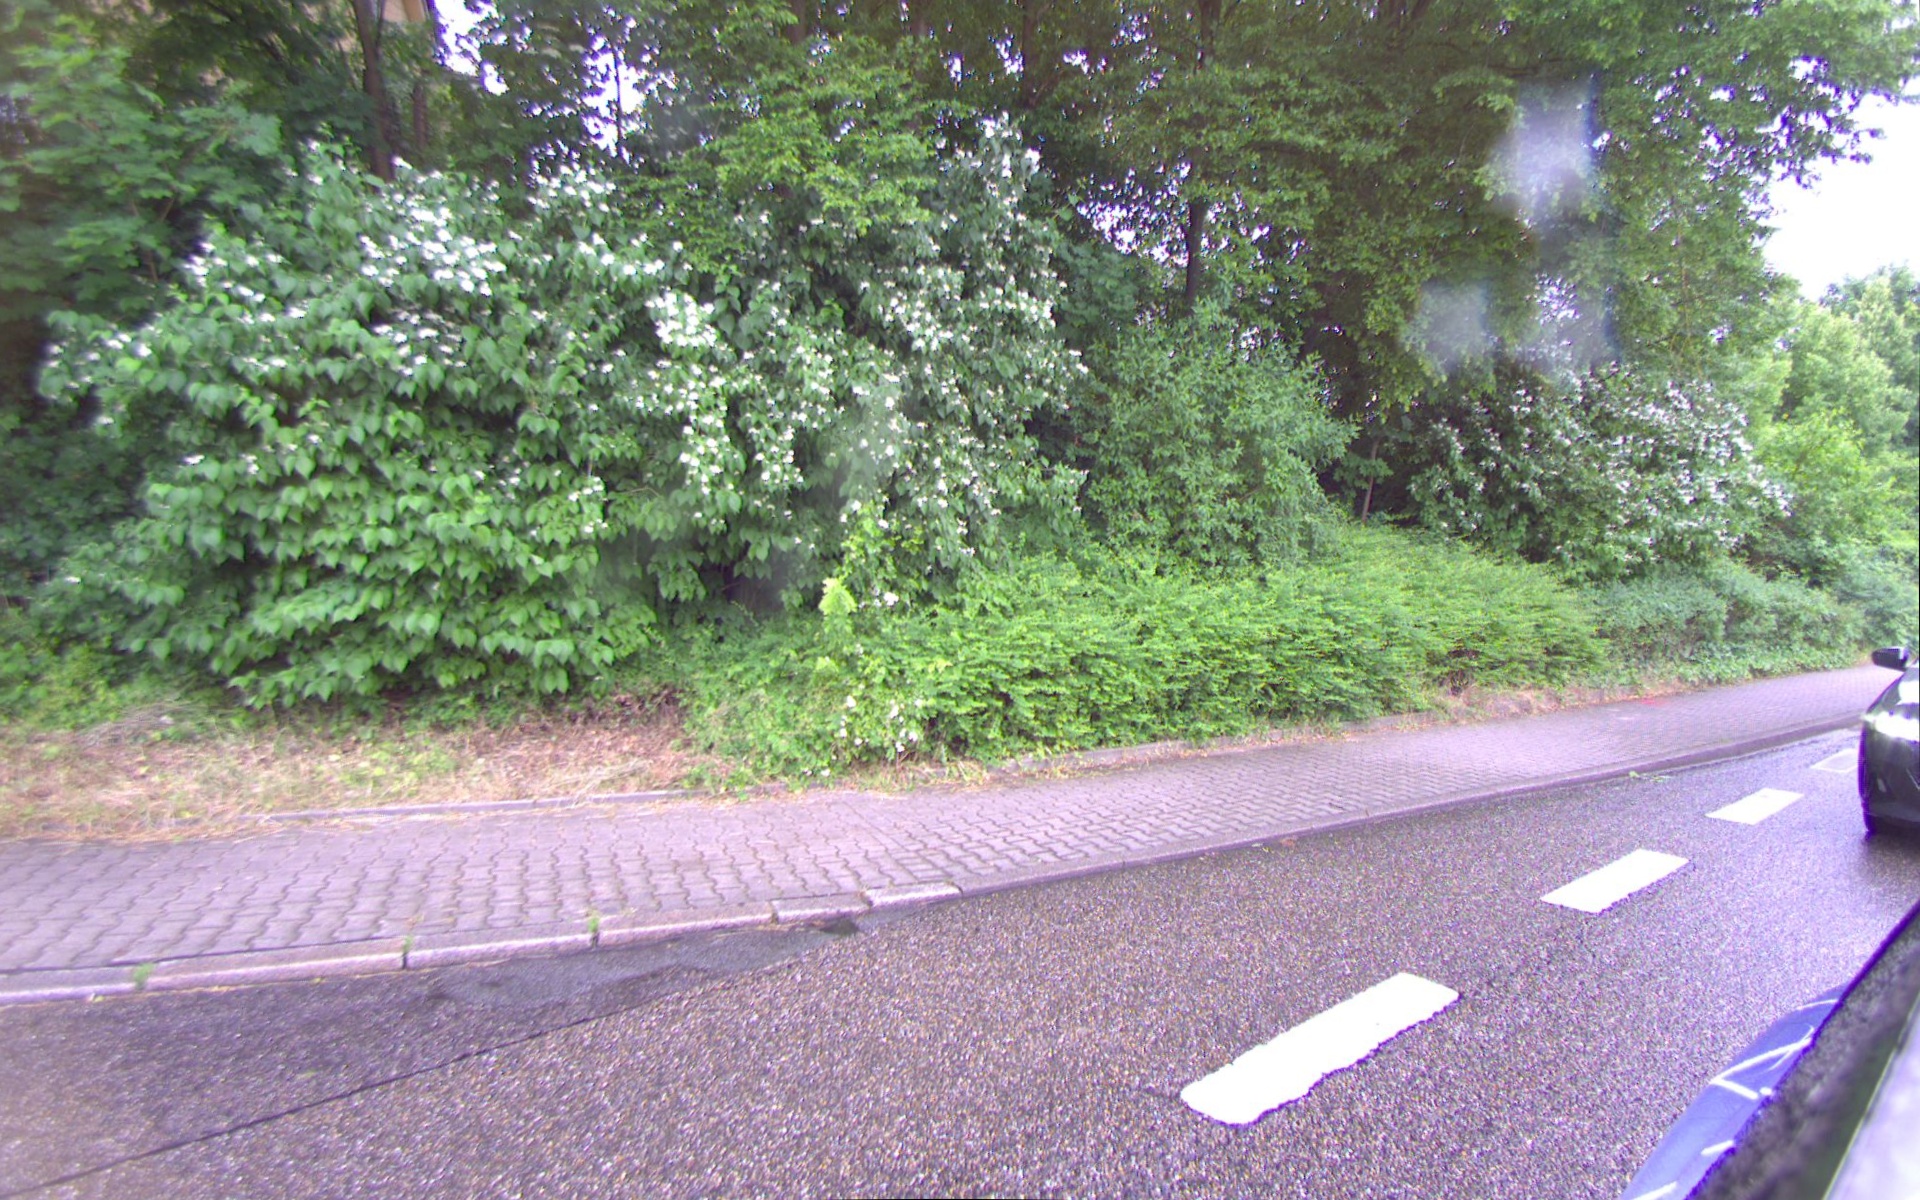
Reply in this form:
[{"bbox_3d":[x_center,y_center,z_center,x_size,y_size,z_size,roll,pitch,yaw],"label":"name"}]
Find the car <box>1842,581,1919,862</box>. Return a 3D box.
[{"bbox_3d":[7.257,0.687,6.349,4.122,1.524,1.873,-1,4,-39],"label":"car"}]
